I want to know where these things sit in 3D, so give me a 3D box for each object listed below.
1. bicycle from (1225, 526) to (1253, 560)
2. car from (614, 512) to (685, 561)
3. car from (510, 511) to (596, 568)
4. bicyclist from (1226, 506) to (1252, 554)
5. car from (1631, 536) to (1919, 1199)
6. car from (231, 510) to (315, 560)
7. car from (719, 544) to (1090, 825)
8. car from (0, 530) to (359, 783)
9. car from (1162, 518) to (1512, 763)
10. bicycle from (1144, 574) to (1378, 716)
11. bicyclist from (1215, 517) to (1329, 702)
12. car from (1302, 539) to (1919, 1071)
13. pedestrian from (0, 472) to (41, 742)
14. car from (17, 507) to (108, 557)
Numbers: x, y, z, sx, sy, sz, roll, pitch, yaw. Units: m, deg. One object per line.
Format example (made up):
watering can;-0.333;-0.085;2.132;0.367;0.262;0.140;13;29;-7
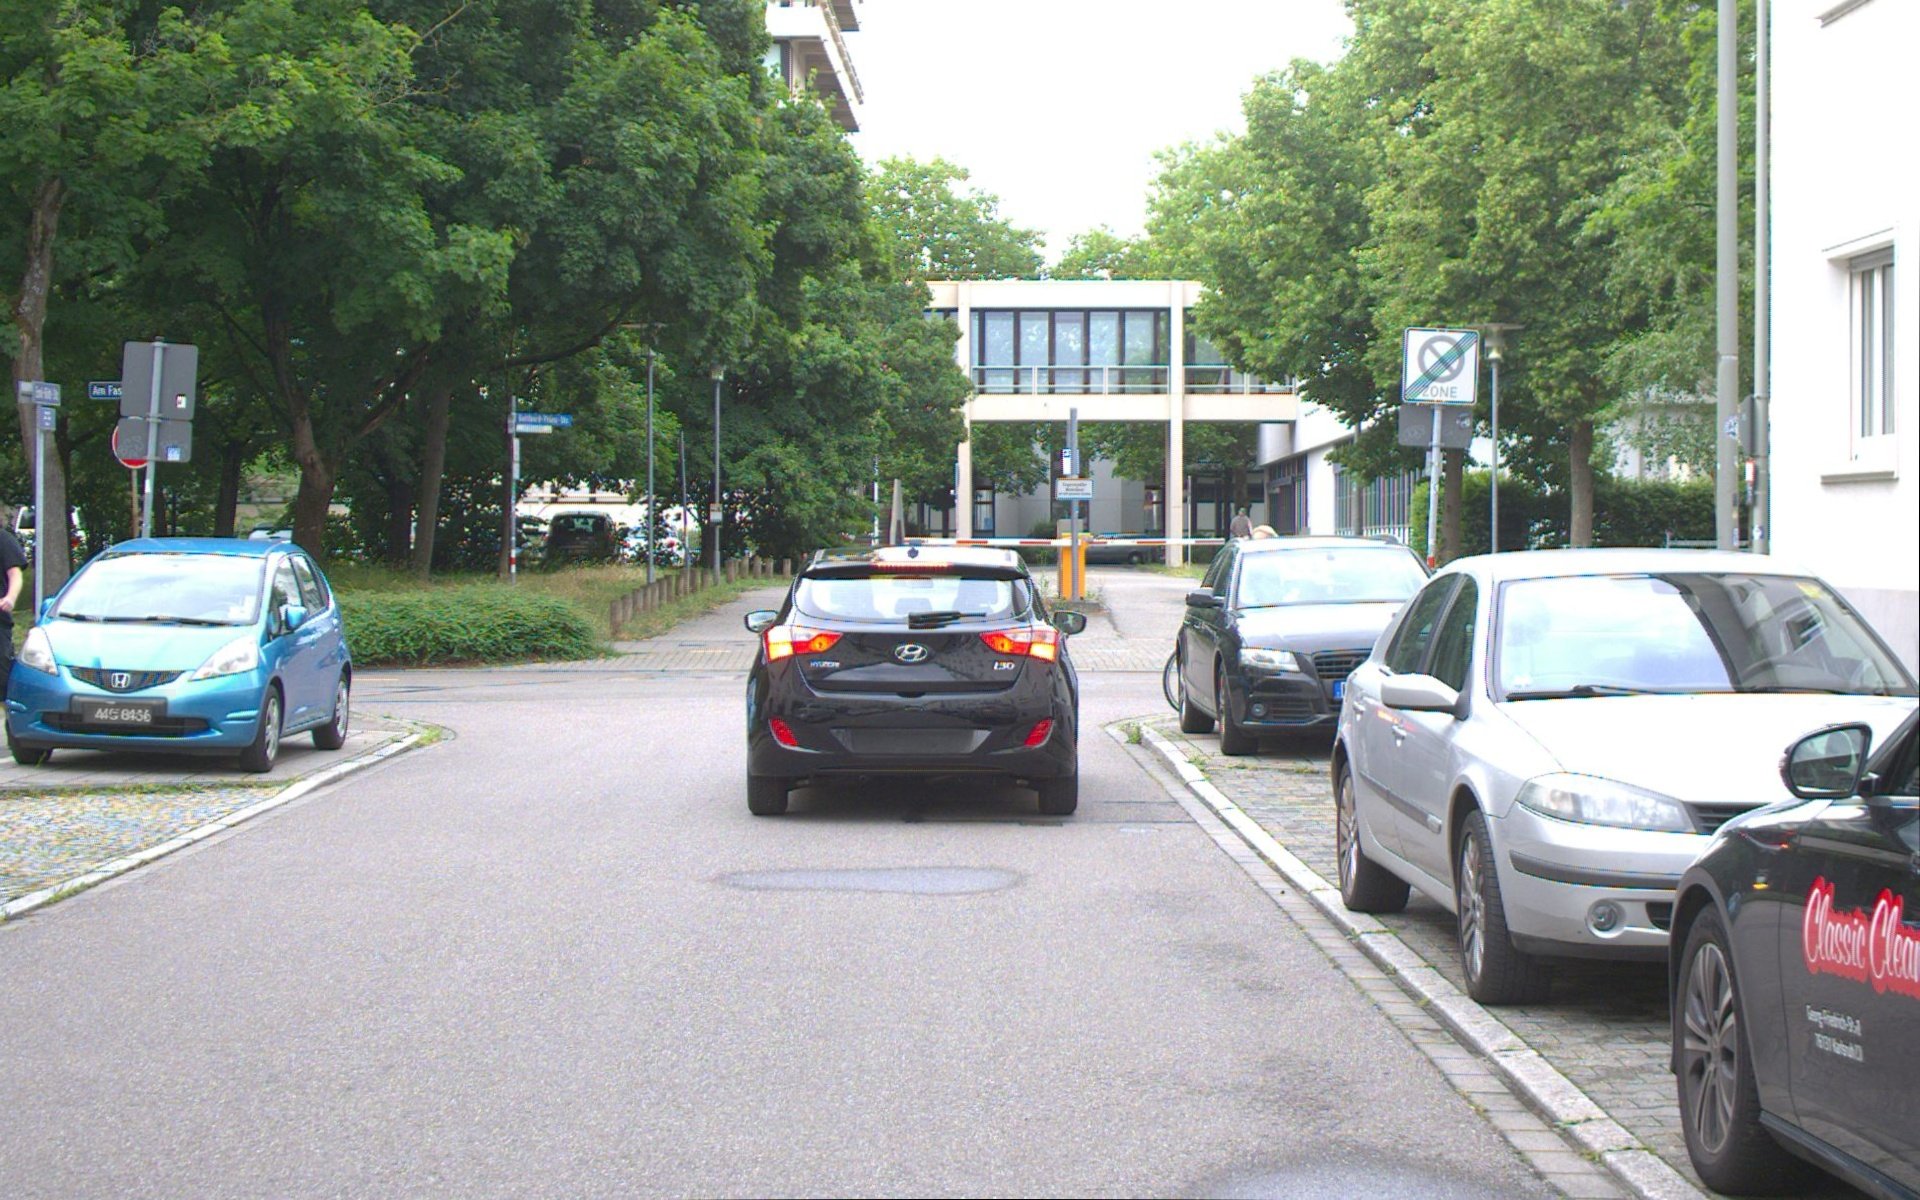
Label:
bicycle;8.401;-1.716;103.506;0.693;0.993;1.735;1;1;0
car;-8.593;-1.776;95.325;1.665;1.328;3.396;1;1;-1
car;-9.676;-1.457;81.889;1.665;1.328;3.396;1;1;-1
bicyclist;8.405;-2.112;103.502;0.693;1.439;0.795;1;1;0
car;2.576;0.655;5.930;1.820;1.514;4.674;0;1;-1
car;-19.048;-1.819;95.429;1.665;1.328;3.396;1;1;-1
car;-0.282;0.400;19.756;1.903;1.428;4.233;0;1;0
car;-5.398;0.315;23.631;1.993;1.535;4.001;1;1;-3
car;2.508;0.198;23.982;1.820;1.514;4.674;1;1;-1
bicycle;2.557;0.377;29.364;1.928;1.159;0.692;1;1;0
bicyclist;2.656;0.072;29.353;0.899;1.546;0.693;1;1;0
car;2.406;0.551;12.228;1.820;1.514;4.674;0;1;-1
pedestrian;-6.797;0.033;23.652;0.714;1.825;0.797;1;1;1
car;-24.978;-1.904;95.757;1.665;1.328;3.396;1;1;-1
